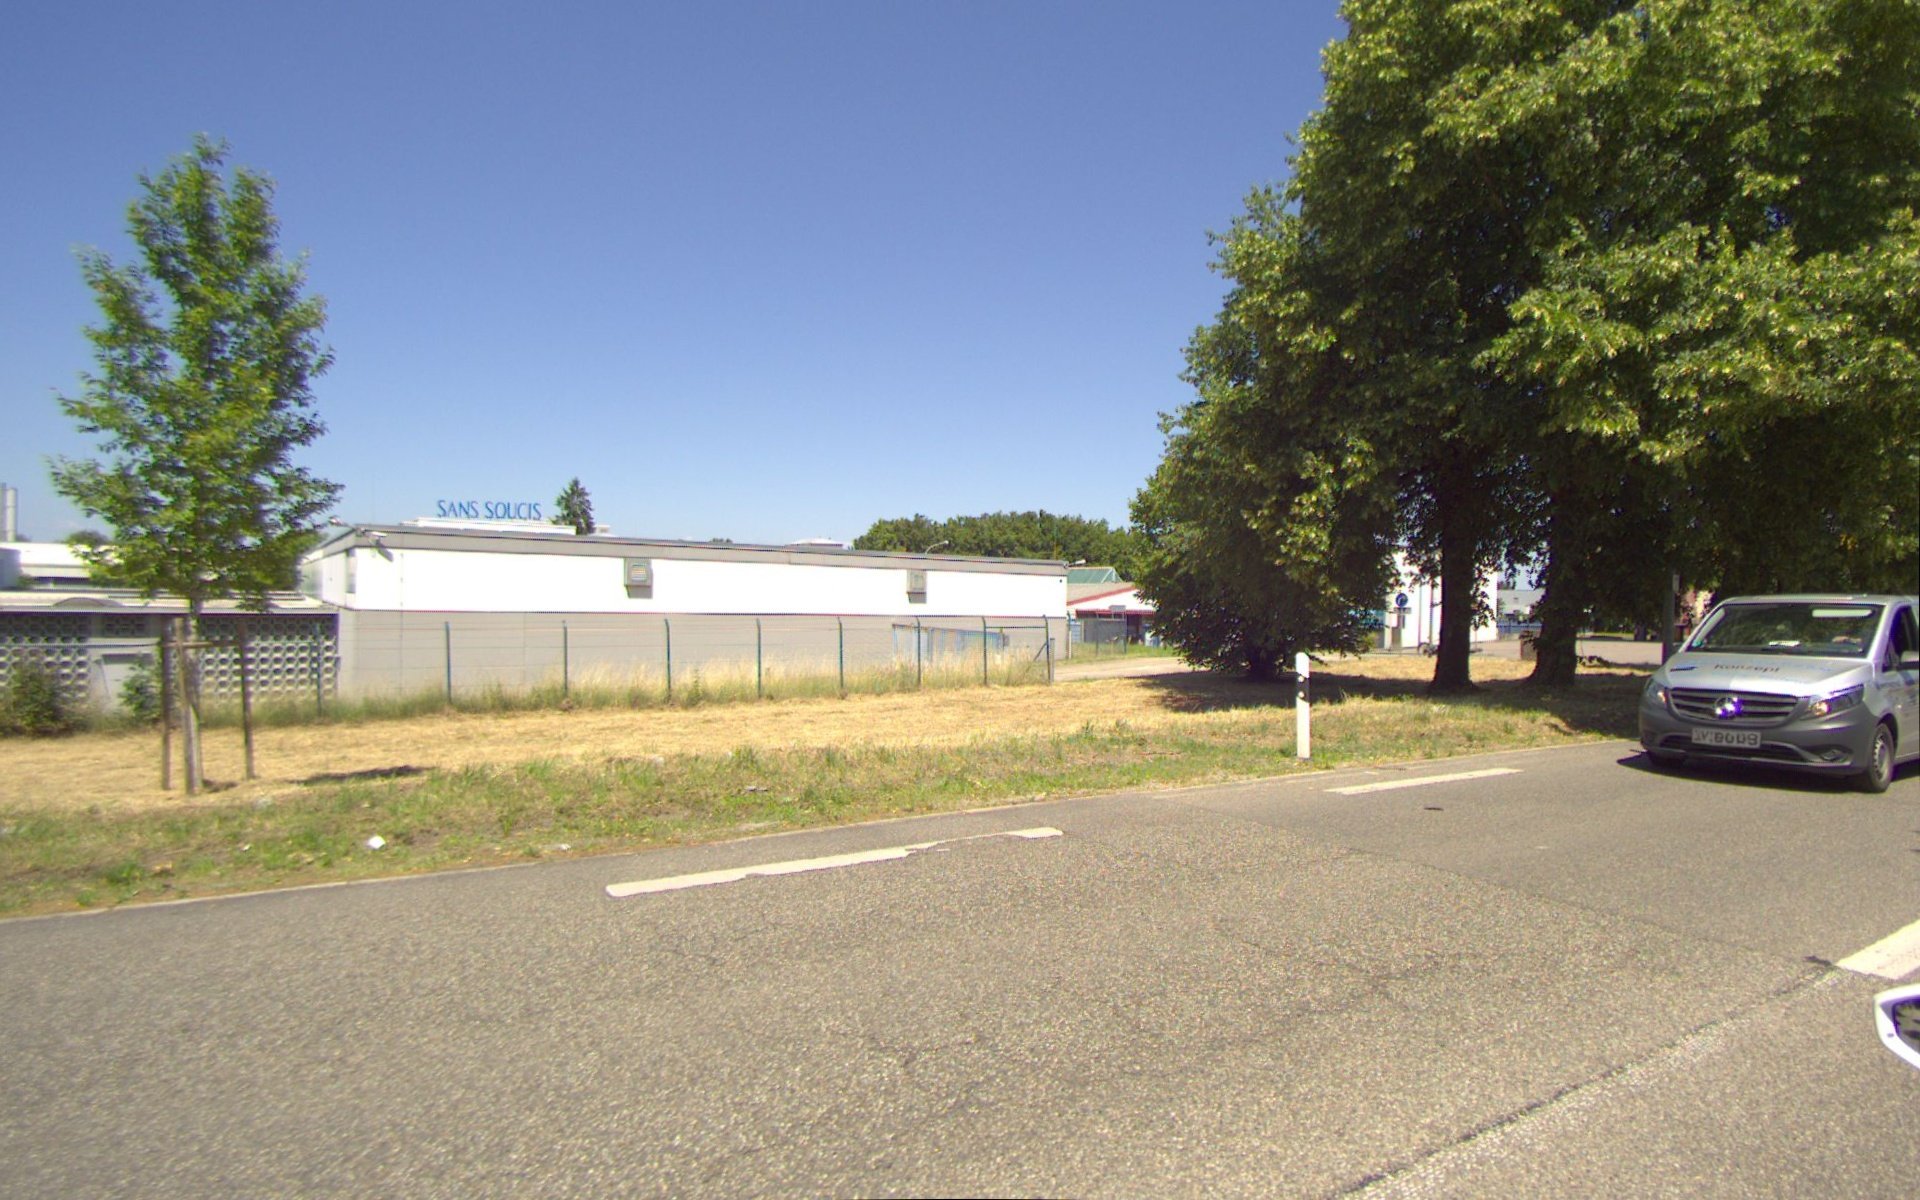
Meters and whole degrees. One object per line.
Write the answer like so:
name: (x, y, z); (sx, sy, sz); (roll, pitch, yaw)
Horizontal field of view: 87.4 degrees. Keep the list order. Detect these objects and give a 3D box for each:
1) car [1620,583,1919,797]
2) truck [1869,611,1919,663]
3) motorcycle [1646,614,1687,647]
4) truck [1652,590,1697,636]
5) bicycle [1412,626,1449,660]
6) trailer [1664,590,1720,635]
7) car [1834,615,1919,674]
car: (9.464, 0.824, 10.901); (5.240, 1.858, 1.867); (1, 0, -32)
truck: (51.512, 1.983, 53.785); (6.653, 2.633, 2.223); (2, 0, -30)
motorcycle: (45.499, 1.970, 64.675); (2.756, 2.040, 0.834); (2, 0, -25)
truck: (52.933, 0.933, 74.417); (3.160, 3.286, 1.832); (0, 1, -37)
bicycle: (20.111, 1.828, 42.982); (0.390, 1.367, 1.531); (1, -1, -26)
trailer: (55.955, 0.955, 76.753); (5.859, 3.262, 1.851); (1, 0, -38)
car: (29.151, 1.339, 30.253); (1.936, 1.695, 4.248); (1, 0, 0)
